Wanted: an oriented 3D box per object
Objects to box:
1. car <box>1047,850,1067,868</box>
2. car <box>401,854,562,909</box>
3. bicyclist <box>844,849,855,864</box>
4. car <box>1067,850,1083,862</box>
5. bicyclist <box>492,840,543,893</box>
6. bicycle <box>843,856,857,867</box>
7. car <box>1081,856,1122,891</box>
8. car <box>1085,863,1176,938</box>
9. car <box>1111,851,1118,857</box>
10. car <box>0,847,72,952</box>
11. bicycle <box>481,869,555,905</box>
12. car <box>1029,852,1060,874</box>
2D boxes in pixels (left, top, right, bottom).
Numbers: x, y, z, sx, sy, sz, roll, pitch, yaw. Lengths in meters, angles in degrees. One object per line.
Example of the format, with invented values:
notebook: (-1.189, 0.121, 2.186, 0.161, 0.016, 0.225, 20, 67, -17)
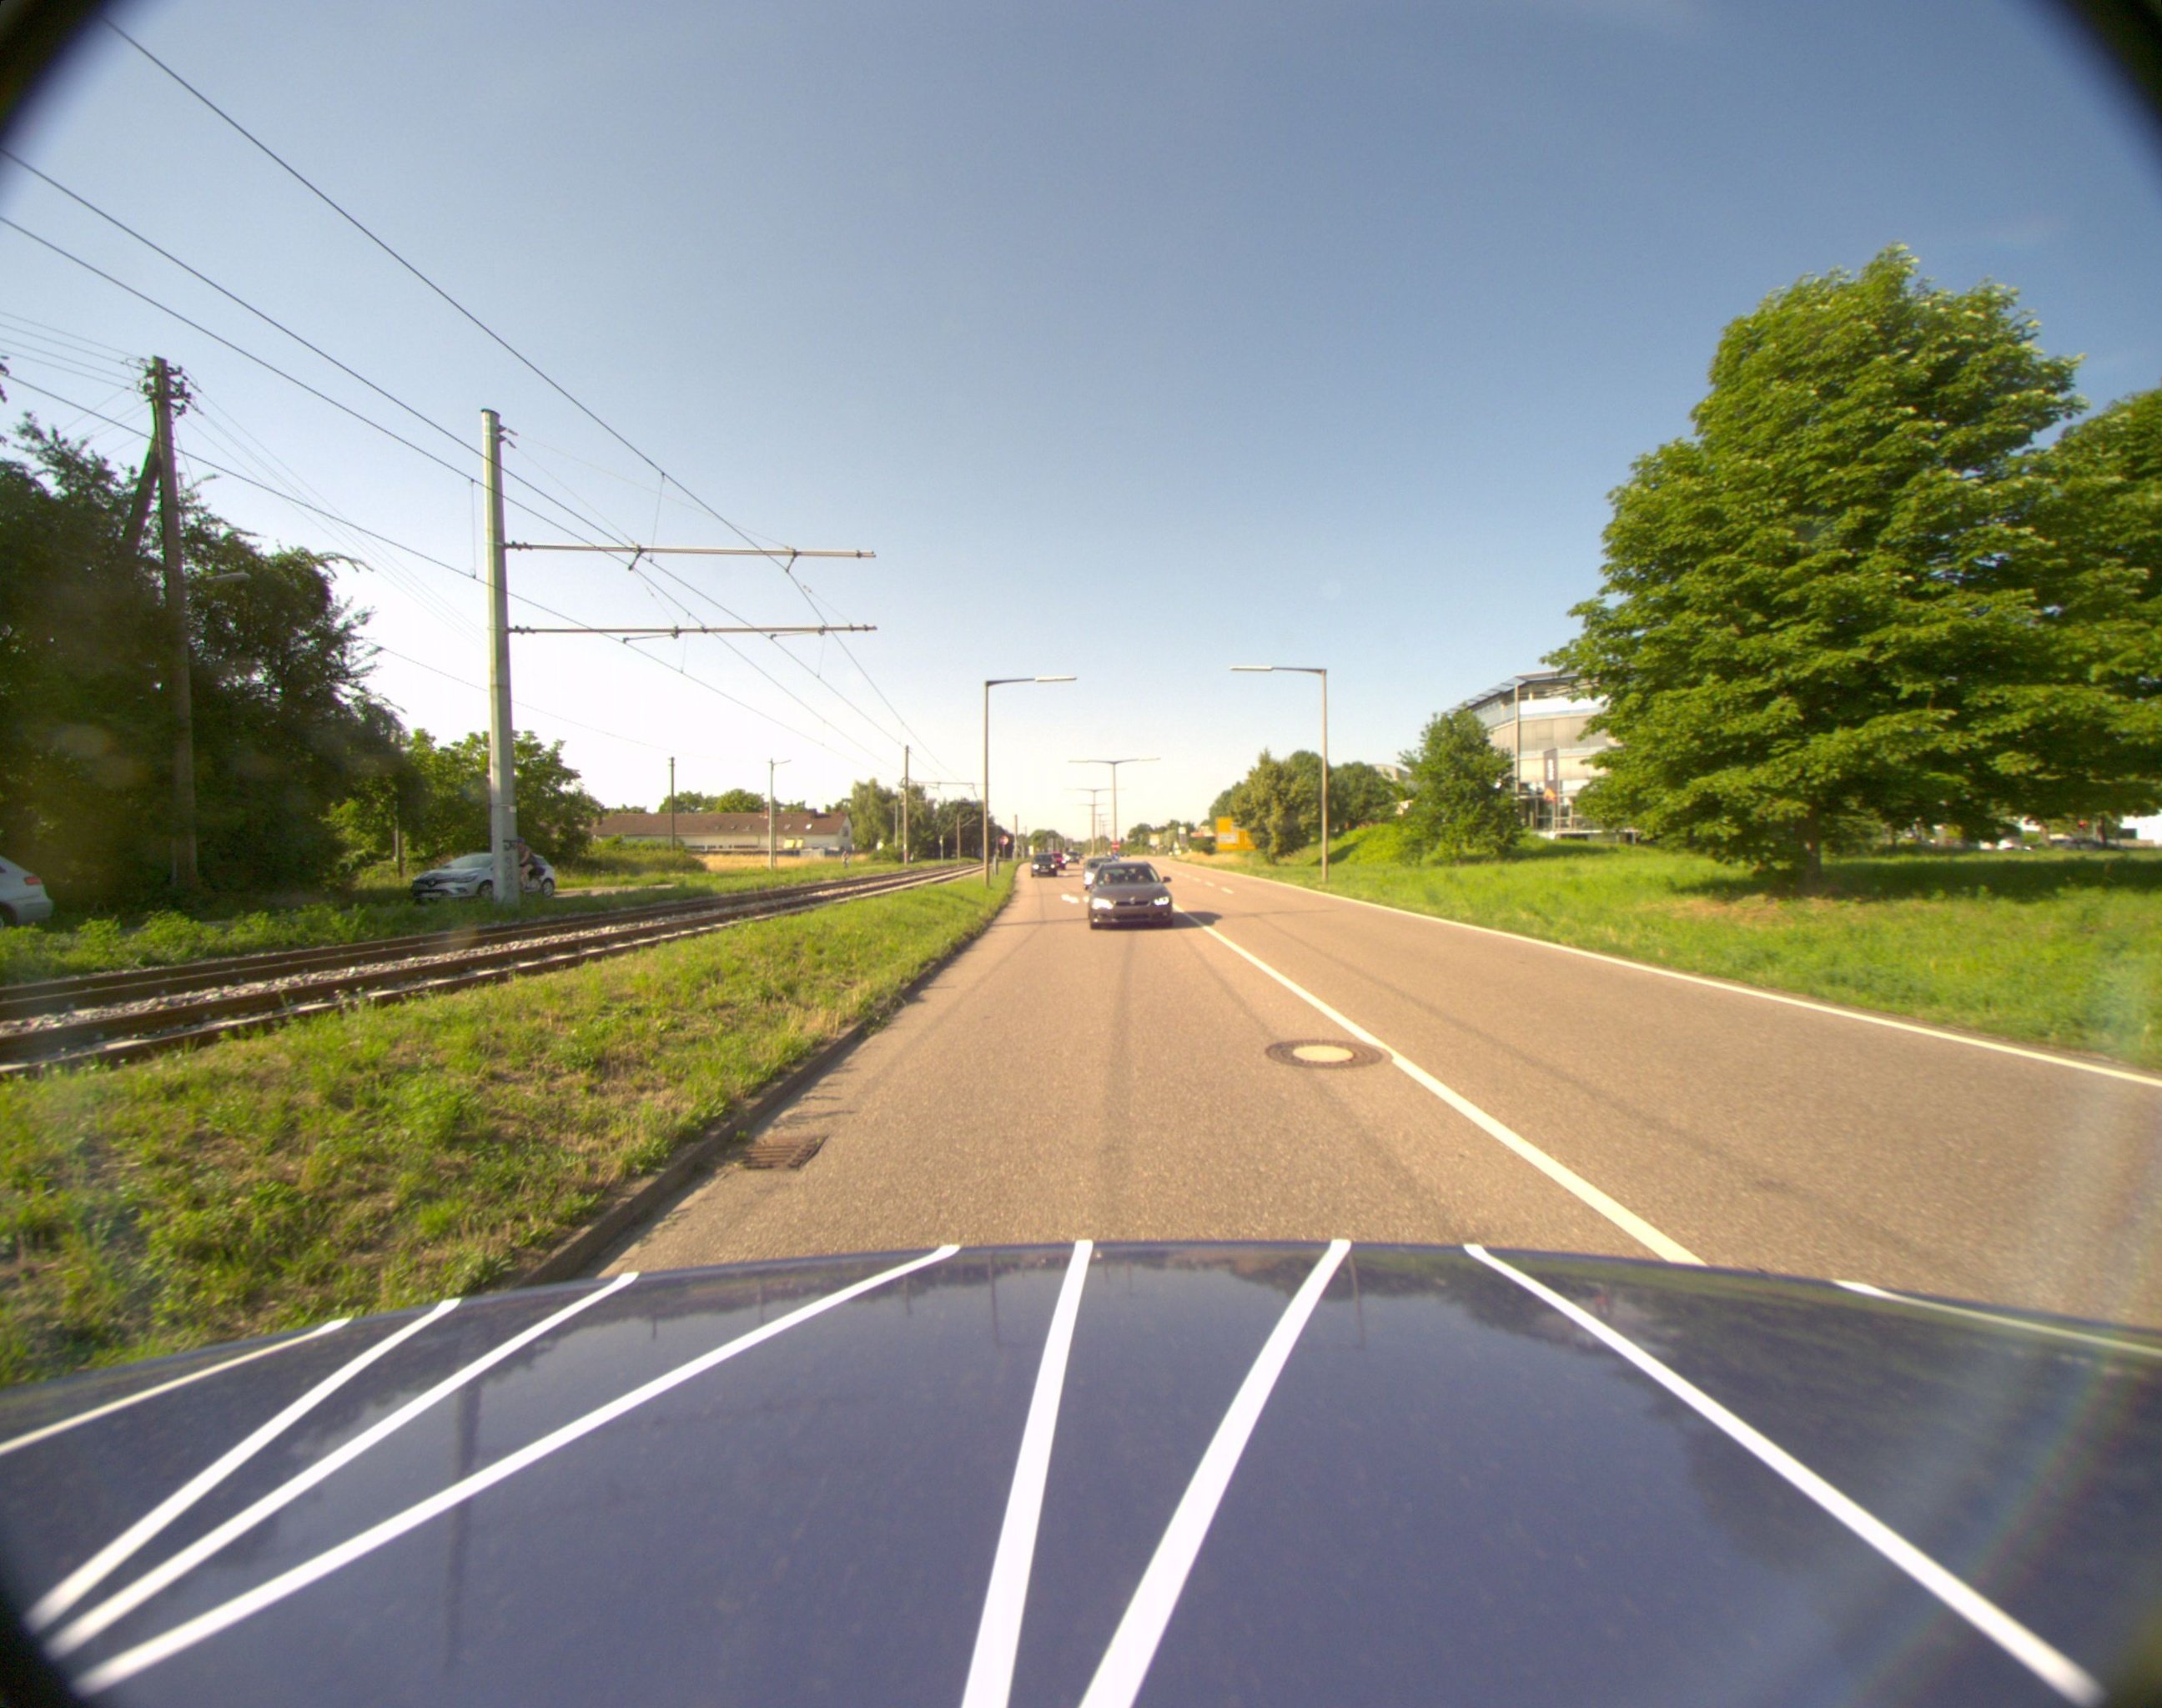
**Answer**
car: (-2.193, 0.445, 69.461, 1.607, 1.504, 4.268, -3, 0, 0)
car: (-17.272, 0.726, 22.169, 1.538, 1.440, 4.130, 0, 0, -3)
bicyclist: (-20.150, 0.212, 66.181, 0.641, 1.226, 0.791, -2, 1, -1)
car: (-0.805, 0.249, 97.756, 1.968, 1.504, 4.808, -1, 0, 0)
bicyclist: (-15.432, 0.341, 20.835, 0.631, 1.414, 0.962, -2, 1, 0)
bicycle: (-20.130, 0.674, 66.254, 0.644, 0.904, 1.813, -2, 0, 0)
car: (0.944, 0.839, 34.795, 1.710, 1.444, 4.590, -2, 0, 1)
car: (1.026, 0.975, 17.554, 1.747, 1.444, 3.946, -2, 0, -1)
car: (9.879, -0.027, 223.238, 1.563, 1.369, 3.383, -3, 2, -5)
car: (-17.391, 0.691, 9.955, 1.911, 1.581, 4.728, 0, 0, 4)
bicycle: (-15.415, 0.888, 20.854, 0.644, 0.904, 1.843, -2, 0, 0)
car: (-2.515, 0.615, 53.233, 1.847, 1.347, 4.154, -3, 0, 0)
